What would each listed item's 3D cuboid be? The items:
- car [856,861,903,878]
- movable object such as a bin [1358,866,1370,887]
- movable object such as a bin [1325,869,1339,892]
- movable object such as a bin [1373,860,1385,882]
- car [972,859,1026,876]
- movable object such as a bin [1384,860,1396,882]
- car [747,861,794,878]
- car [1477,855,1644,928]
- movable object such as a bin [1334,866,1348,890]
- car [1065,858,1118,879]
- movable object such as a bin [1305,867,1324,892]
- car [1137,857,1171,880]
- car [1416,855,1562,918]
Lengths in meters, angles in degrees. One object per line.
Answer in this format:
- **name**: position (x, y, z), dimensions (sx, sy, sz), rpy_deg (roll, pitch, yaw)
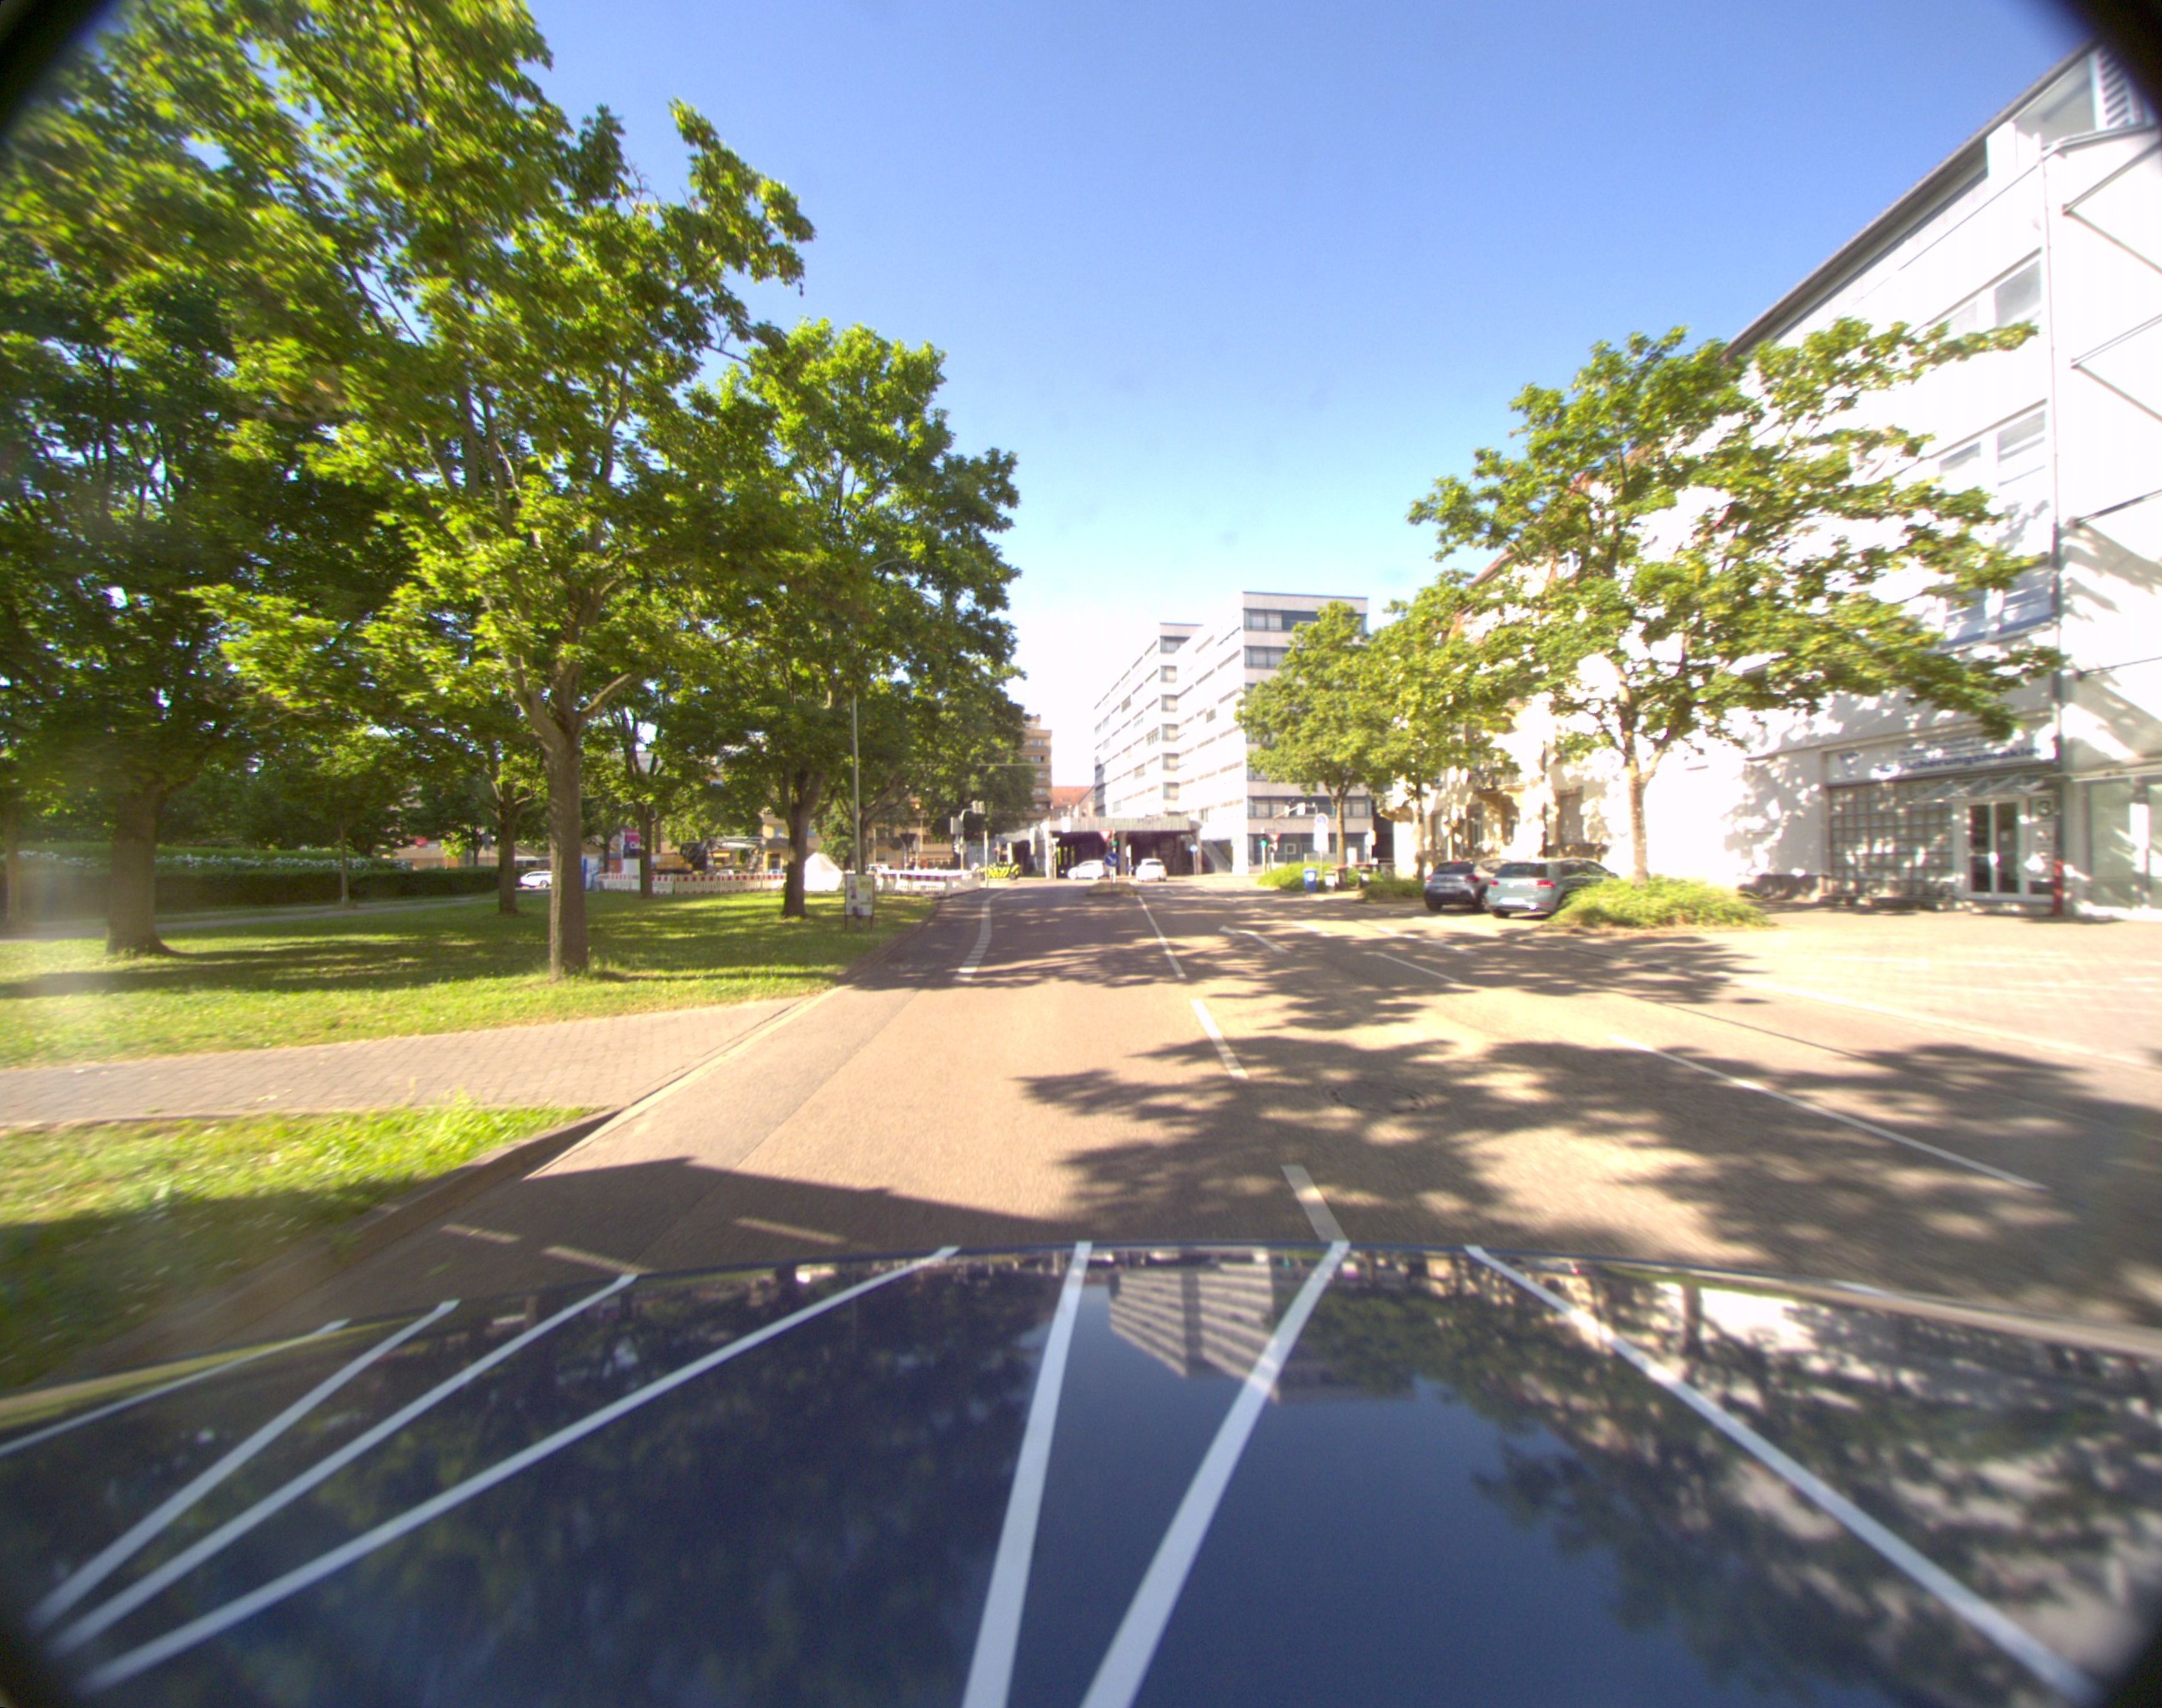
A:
- **car**: position (-18.638, 1.454, 70.364), dimensions (3.750, 1.545, 1.931), rpy_deg (-1, 0, 12)
- **movable object such as a bin**: position (12.819, 0.999, 34.405), dimensions (0.476, 0.938, 0.543), rpy_deg (0, 1, 27)
- **movable object such as a bin**: position (10.916, 1.141, 33.004), dimensions (0.476, 0.954, 0.543), rpy_deg (-2, 1, 28)
- **movable object such as a bin**: position (14.465, 0.834, 36.856), dimensions (0.476, 1.055, 0.551), rpy_deg (0, 1, 27)
- **car**: position (-7.062, 1.129, 65.825), dimensions (4.316, 1.398, 1.930), rpy_deg (-1, 0, 3)
- **movable object such as a bin**: position (14.898, 0.831, 36.627), dimensions (0.476, 1.055, 0.551), rpy_deg (0, 1, 27)
- **car**: position (-29.748, 1.519, 72.893), dimensions (3.750, 1.545, 1.931), rpy_deg (-1, 0, 12)
- **car**: position (11.725, 0.844, 18.526), dimensions (4.006, 1.455, 1.807), rpy_deg (-3, 1, -31)
- **movable object such as a bin**: position (11.549, 1.075, 33.709), dimensions (0.476, 1.034, 0.543), rpy_deg (-2, 1, 27)
- **car**: position (0.820, 1.120, 60.447), dimensions (1.934, 1.545, 4.058), rpy_deg (-1, 0, -43)
- **movable object such as a bin**: position (10.241, 1.120, 33.319), dimensions (0.674, 1.067, 0.804), rpy_deg (0, 0, 27)
- **car**: position (4.898, 0.937, 51.333), dimensions (1.928, 1.443, 3.756), rpy_deg (-1, 0, 0)
- **car**: position (11.544, 0.853, 21.461), dimensions (4.006, 1.455, 1.807), rpy_deg (-3, 1, -31)
